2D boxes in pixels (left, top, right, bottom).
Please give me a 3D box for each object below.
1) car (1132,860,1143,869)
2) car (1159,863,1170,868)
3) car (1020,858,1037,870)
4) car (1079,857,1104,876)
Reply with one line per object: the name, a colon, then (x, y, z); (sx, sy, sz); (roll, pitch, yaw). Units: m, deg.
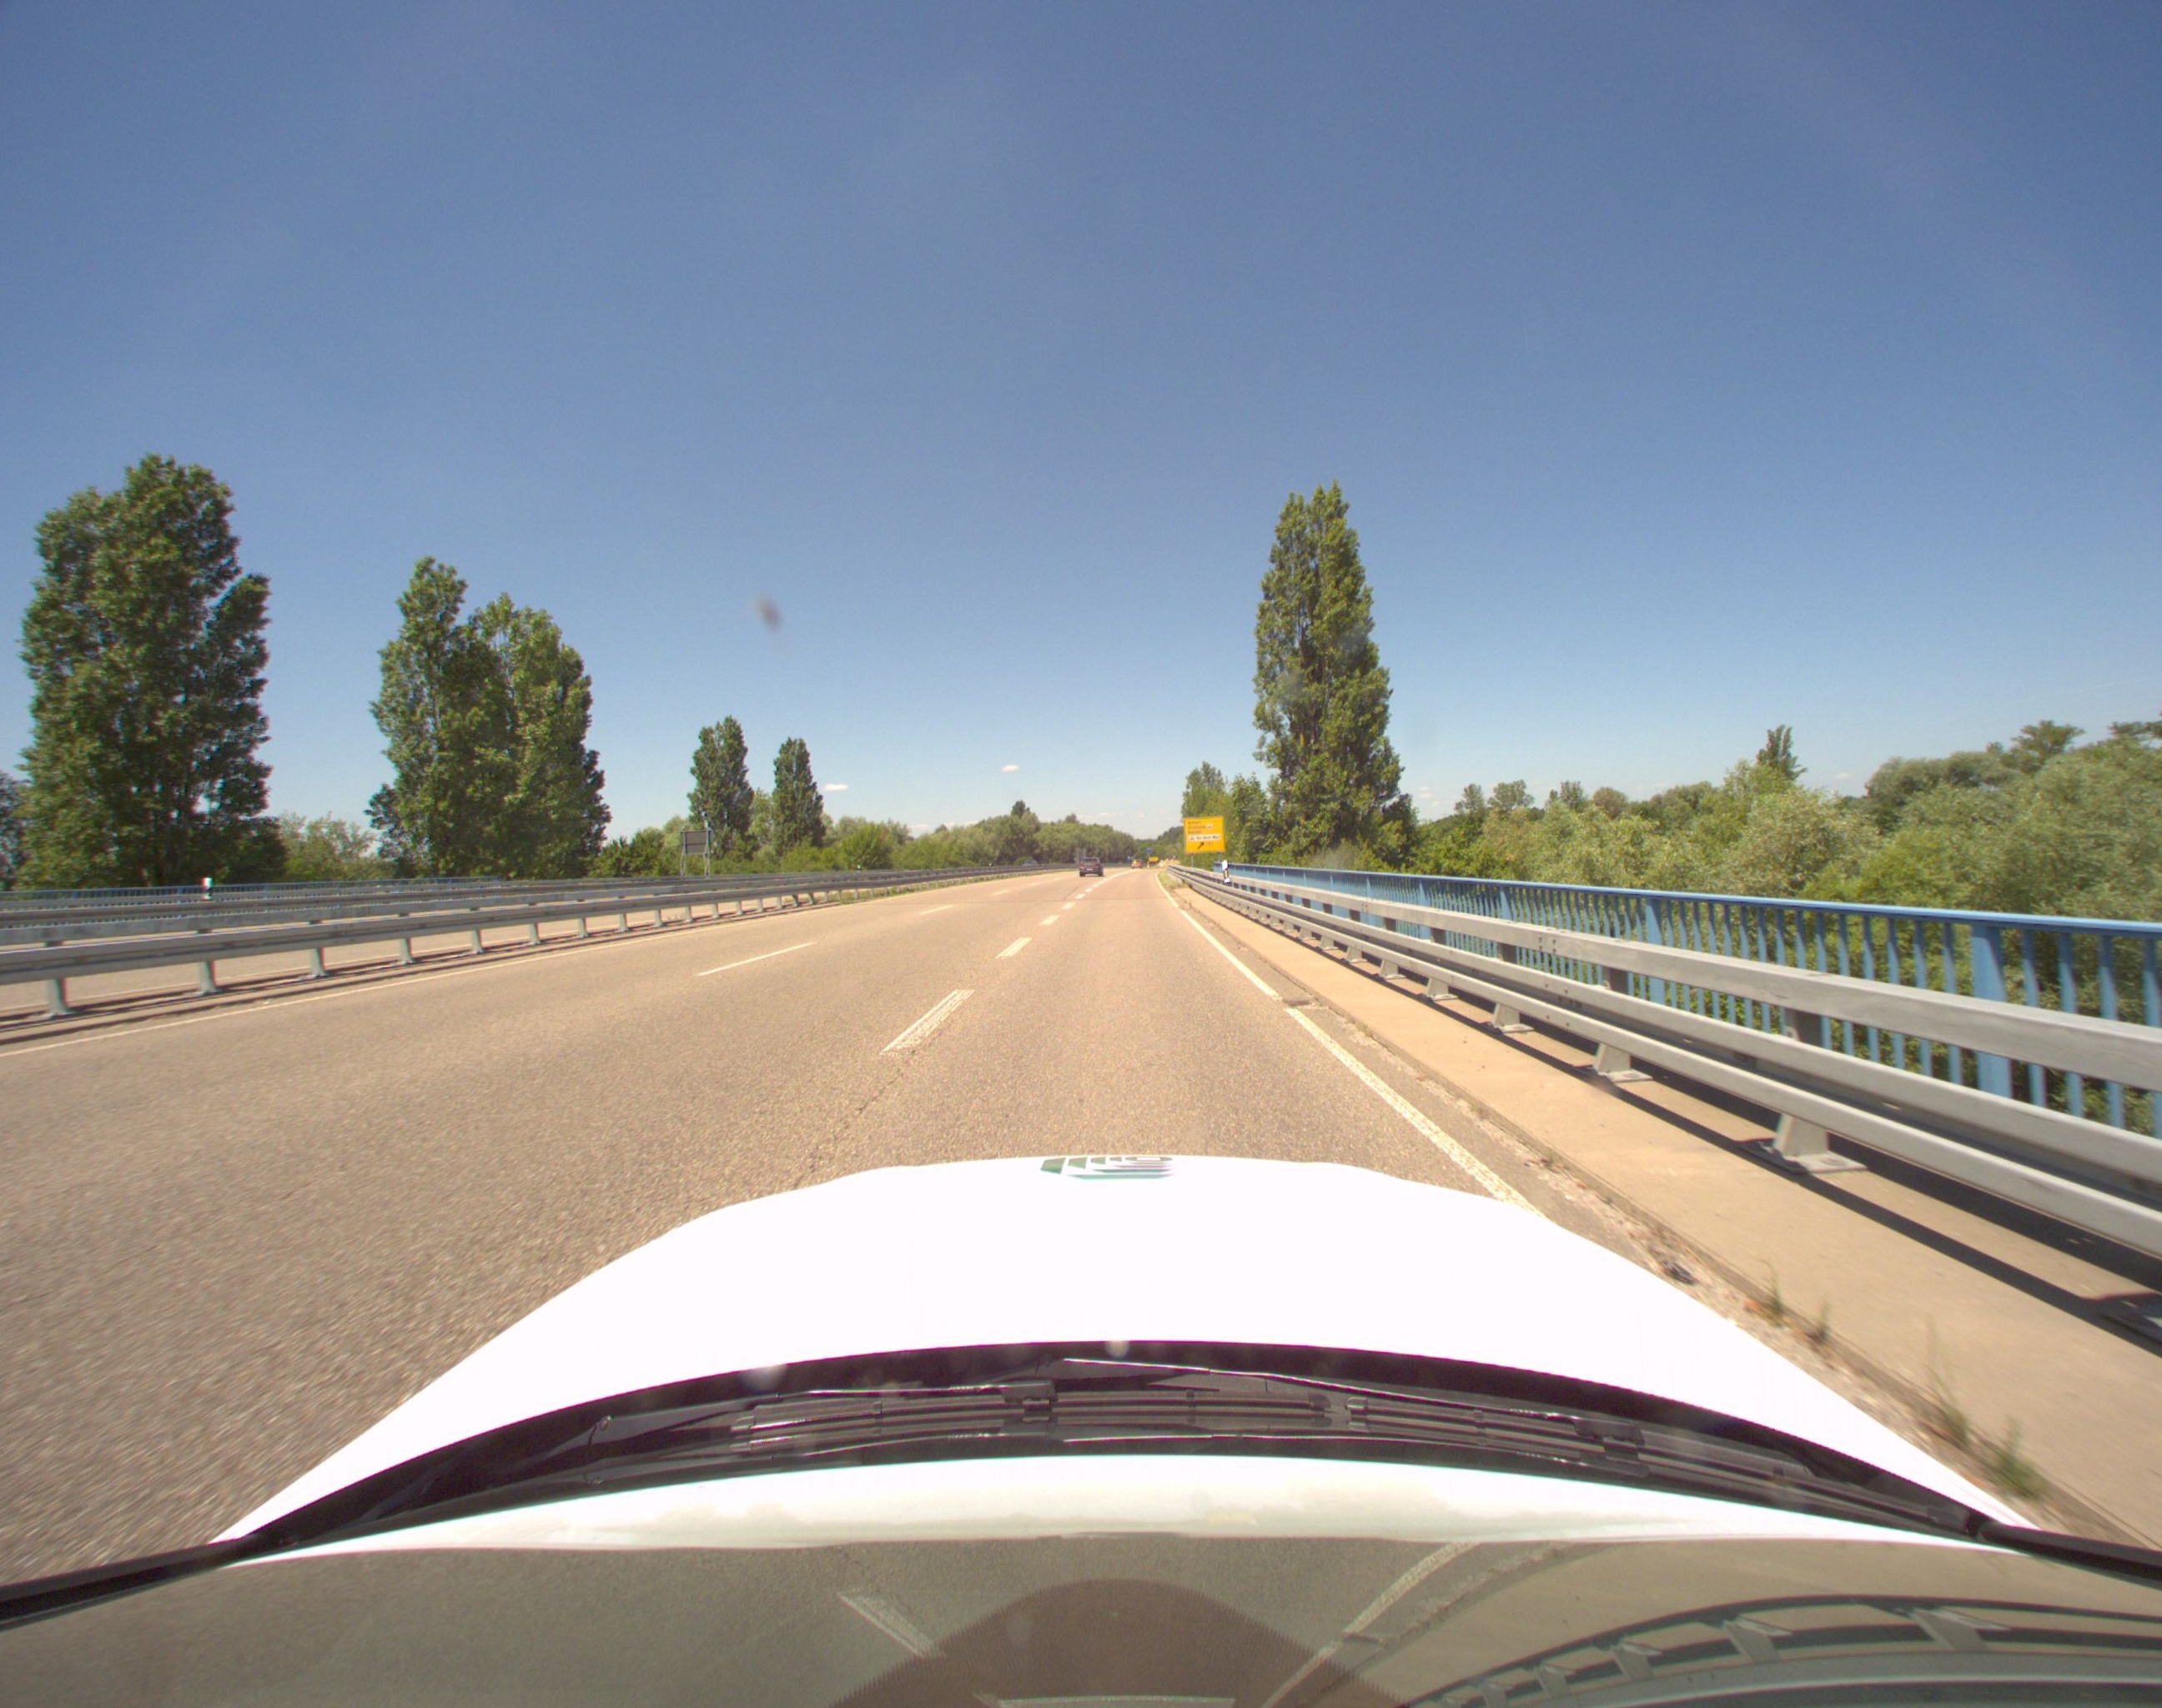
car: (9.772, 1.845, 140.943); (1.832, 1.464, 4.006); (0, 0, 5)
car: (22.532, 3.112, 220.336); (1.825, 1.451, 4.021); (0, 0, 22)
car: (-7.479, 1.472, 115.876); (1.817, 1.647, 4.194); (-2, -1, 4)
car: (0.920, 1.020, 68.578); (1.833, 1.530, 4.476); (0, 0, 5)
